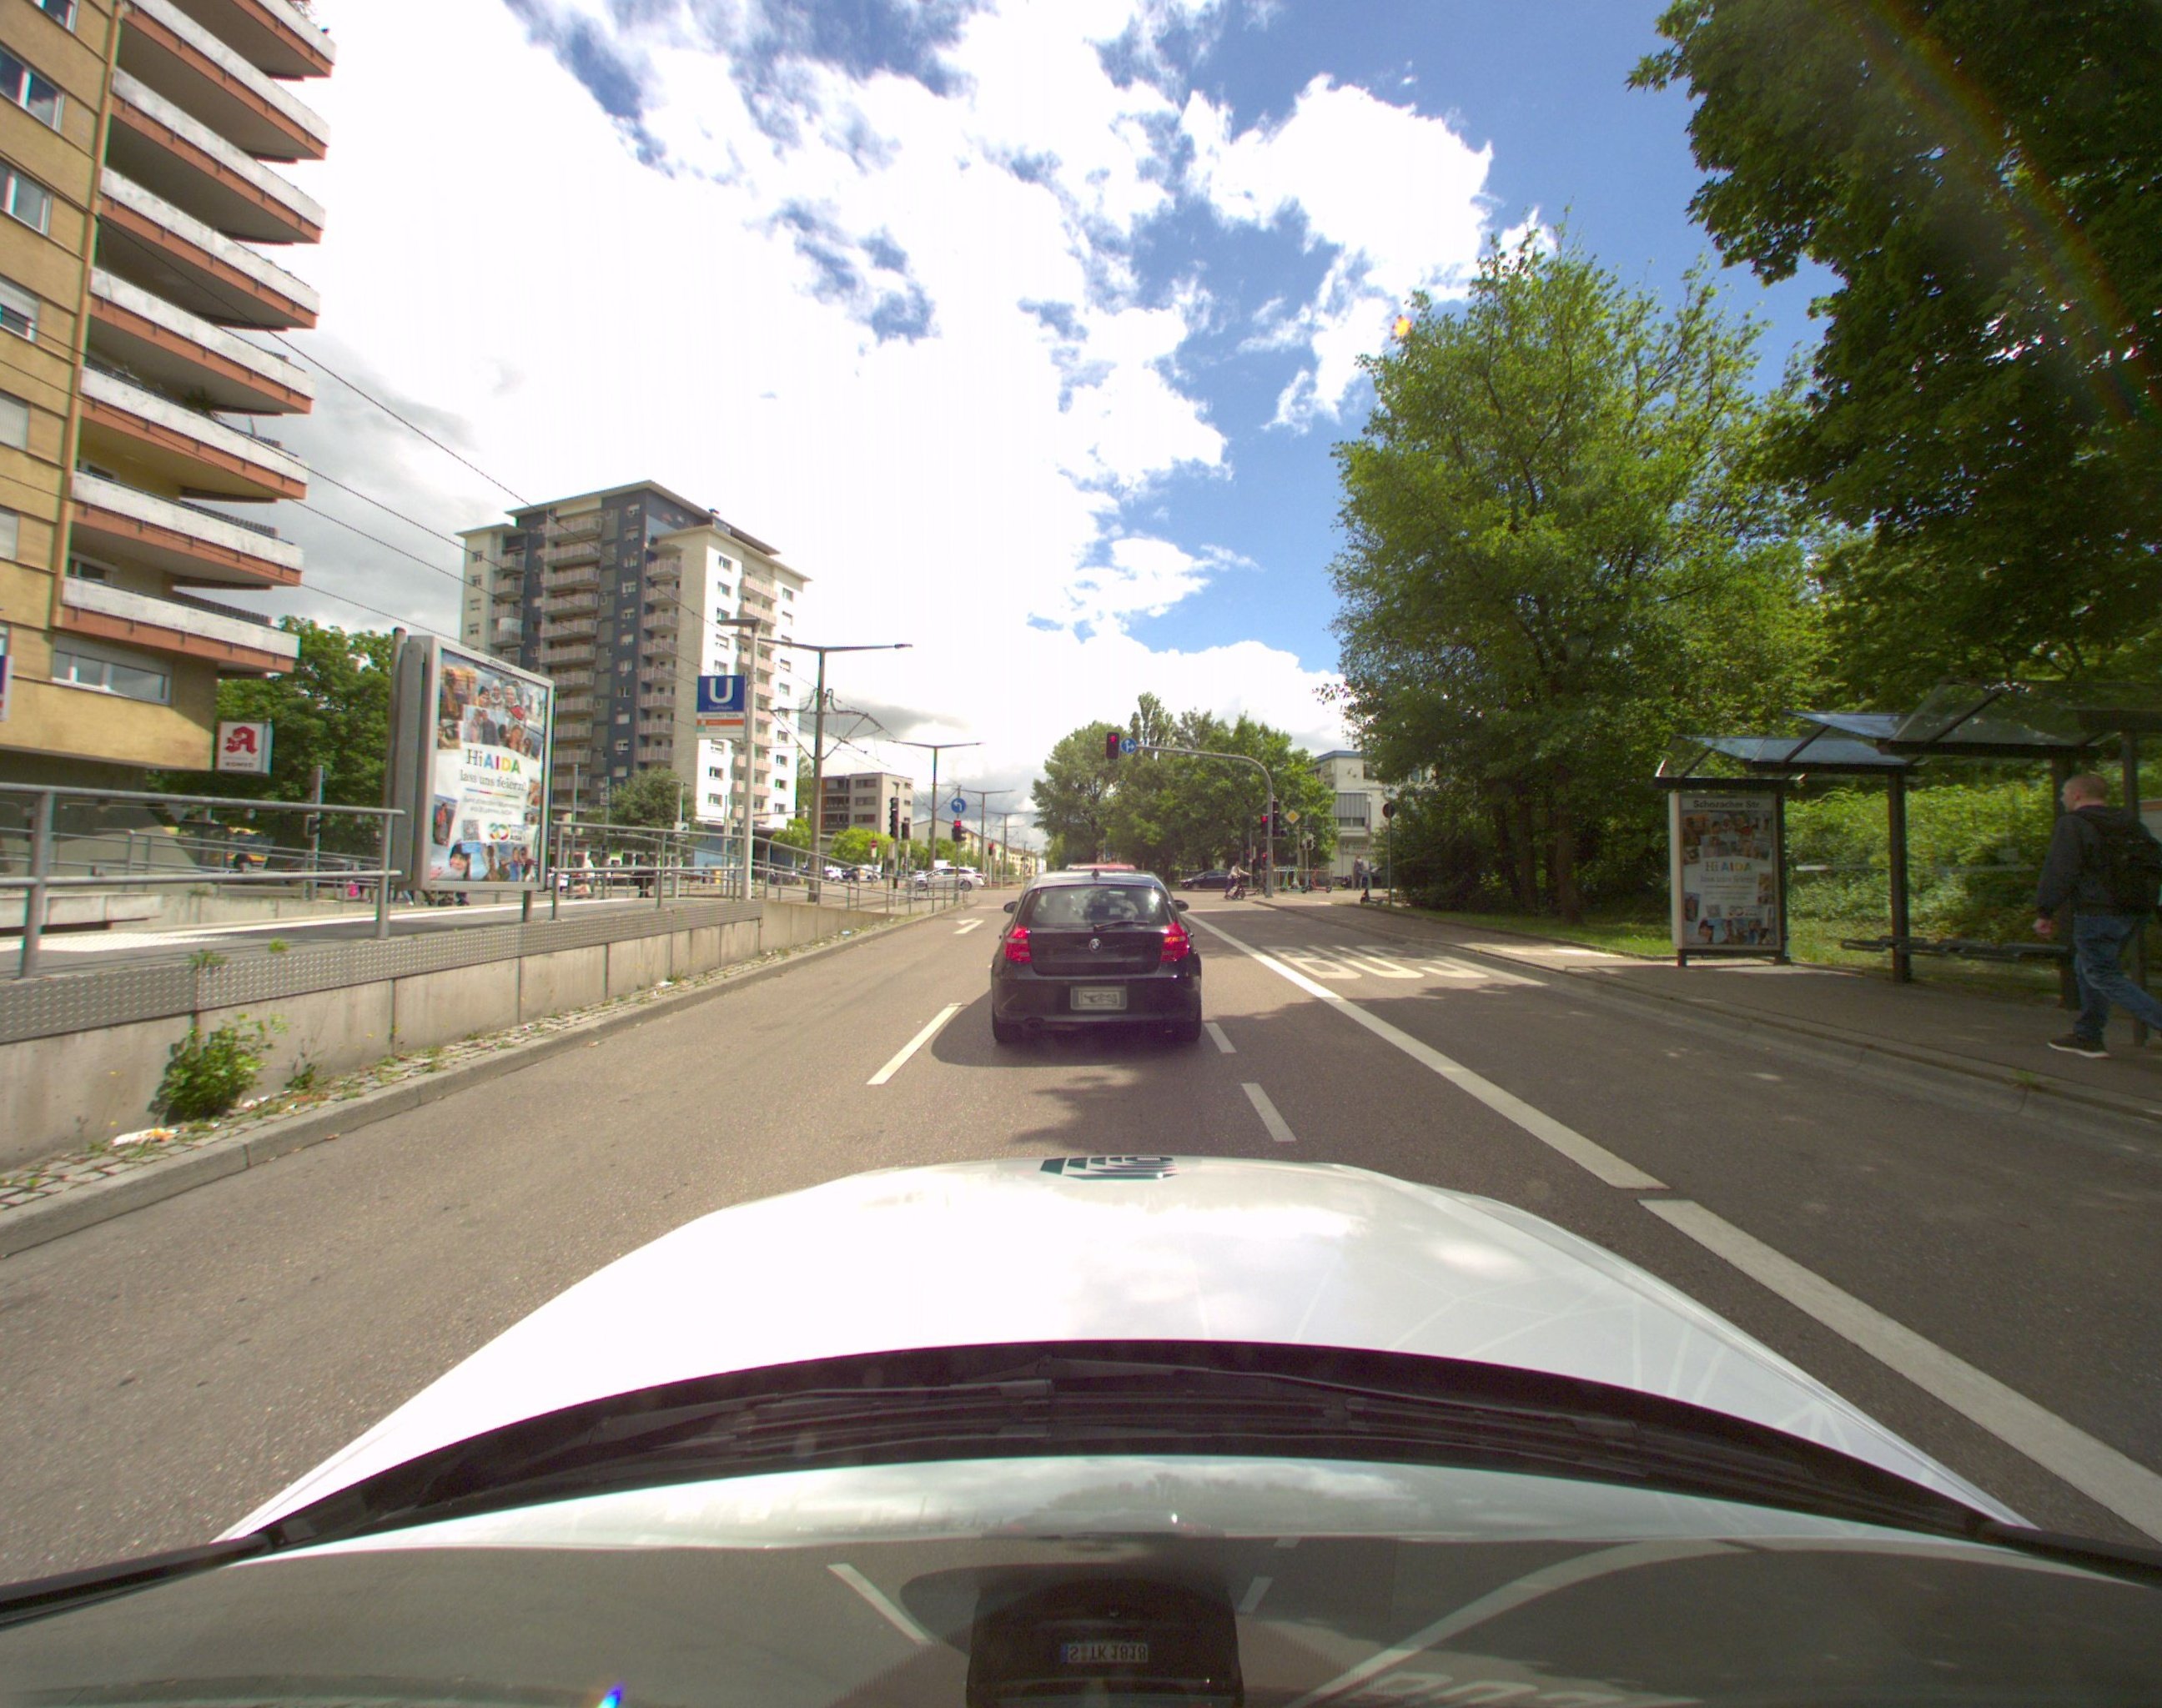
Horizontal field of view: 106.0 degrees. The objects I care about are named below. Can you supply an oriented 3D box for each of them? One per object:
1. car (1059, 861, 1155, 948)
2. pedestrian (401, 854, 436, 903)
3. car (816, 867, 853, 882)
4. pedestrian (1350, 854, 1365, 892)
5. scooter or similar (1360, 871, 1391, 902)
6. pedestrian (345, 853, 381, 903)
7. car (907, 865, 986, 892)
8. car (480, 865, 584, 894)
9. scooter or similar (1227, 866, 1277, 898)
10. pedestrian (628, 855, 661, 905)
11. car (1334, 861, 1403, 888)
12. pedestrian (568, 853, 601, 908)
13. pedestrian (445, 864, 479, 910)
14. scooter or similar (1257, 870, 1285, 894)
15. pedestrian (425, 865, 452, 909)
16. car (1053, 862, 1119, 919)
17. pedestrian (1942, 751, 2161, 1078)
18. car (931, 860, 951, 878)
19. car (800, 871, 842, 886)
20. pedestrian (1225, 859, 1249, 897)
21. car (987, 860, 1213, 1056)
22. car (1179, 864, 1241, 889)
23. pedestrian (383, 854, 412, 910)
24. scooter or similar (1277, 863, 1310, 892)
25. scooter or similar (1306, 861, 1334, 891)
[{"bbox_3d":[0.507,0.853,15.308,1.588,1.419,3.519,0,0,2],"label":"car"},{"bbox_3d":[-21.788,0.803,26.775,0.849,1.578,0.627,-1,-1,32],"label":"pedestrian"},{"bbox_3d":[-26.356,2.199,87.114,3.600,1.462,1.612,-1,-1,-7],"label":"car"},{"bbox_3d":[13.250,0.922,39.010,0.608,1.790,0.571,3,-1,20],"label":"pedestrian"},{"bbox_3d":[10.826,1.197,29.921,1.153,1.099,0.329,0,-1,-22],"label":"scooter or similar"},{"bbox_3d":[-23.210,0.759,26.328,0.602,1.583,0.779,-1,-1,37],"label":"pedestrian"},{"bbox_3d":[-8.115,1.473,49.612,4.635,1.480,1.995,-1,-1,-7],"label":"car"},{"bbox_3d":[-31.750,1.458,47.225,4.571,1.526,1.939,-1,-1,-9],"label":"car"},{"bbox_3d":[6.563,1.064,31.261,1.782,1.050,0.409,-5,1,-13],"label":"scooter or similar"},{"bbox_3d":[-14.491,0.845,27.046,0.632,1.633,0.705,-1,-1,11],"label":"pedestrian"},{"bbox_3d":[17.399,1.240,49.412,3.578,1.601,1.705,0,-1,-11],"label":"car"},{"bbox_3d":[-15.591,0.826,25.585,0.864,1.696,0.682,0,-1,-33],"label":"pedestrian"},{"bbox_3d":[-18.666,0.983,24.558,0.691,1.343,0.852,0,-1,-29],"label":"pedestrian"},{"bbox_3d":[7.724,1.124,33.115,1.121,0.957,0.299,-1,-1,-14],"label":"scooter or similar"},{"bbox_3d":[-19.697,1.003,24.983,0.660,1.343,0.558,-1,-1,44],"label":"pedestrian"},{"bbox_3d":[0.140,0.938,22.214,1.649,1.419,3.516,0,0,0],"label":"car"},{"bbox_3d":[6.710,0.355,5.335,0.798,1.895,1.271,0,-1,3],"label":"pedestrian"},{"bbox_3d":[-21.045,2.184,122.511,2.132,2.640,5.358,0,-1,0],"label":"car"},{"bbox_3d":[-25.571,2.393,80.142,3.600,1.462,1.612,-1,-1,-7],"label":"car"},{"bbox_3d":[6.046,0.937,31.618,0.859,1.442,0.801,-1,-1,10],"label":"pedestrian"},{"bbox_3d":[0.245,0.781,7.728,1.647,1.419,3.520,-1,0,4],"label":"car"},{"bbox_3d":[8.102,1.401,51.236,3.600,1.462,1.612,-1,-1,-7],"label":"car"},{"bbox_3d":[-21.393,0.852,25.484,0.685,1.706,0.817,0,-1,-42],"label":"pedestrian"},{"bbox_3d":[8.971,0.992,34.393,1.290,1.189,0.383,-1,-1,-14],"label":"scooter or similar"},{"bbox_3d":[10.326,0.958,35.171,1.107,1.258,0.331,-1,-1,-10],"label":"scooter or similar"}]
